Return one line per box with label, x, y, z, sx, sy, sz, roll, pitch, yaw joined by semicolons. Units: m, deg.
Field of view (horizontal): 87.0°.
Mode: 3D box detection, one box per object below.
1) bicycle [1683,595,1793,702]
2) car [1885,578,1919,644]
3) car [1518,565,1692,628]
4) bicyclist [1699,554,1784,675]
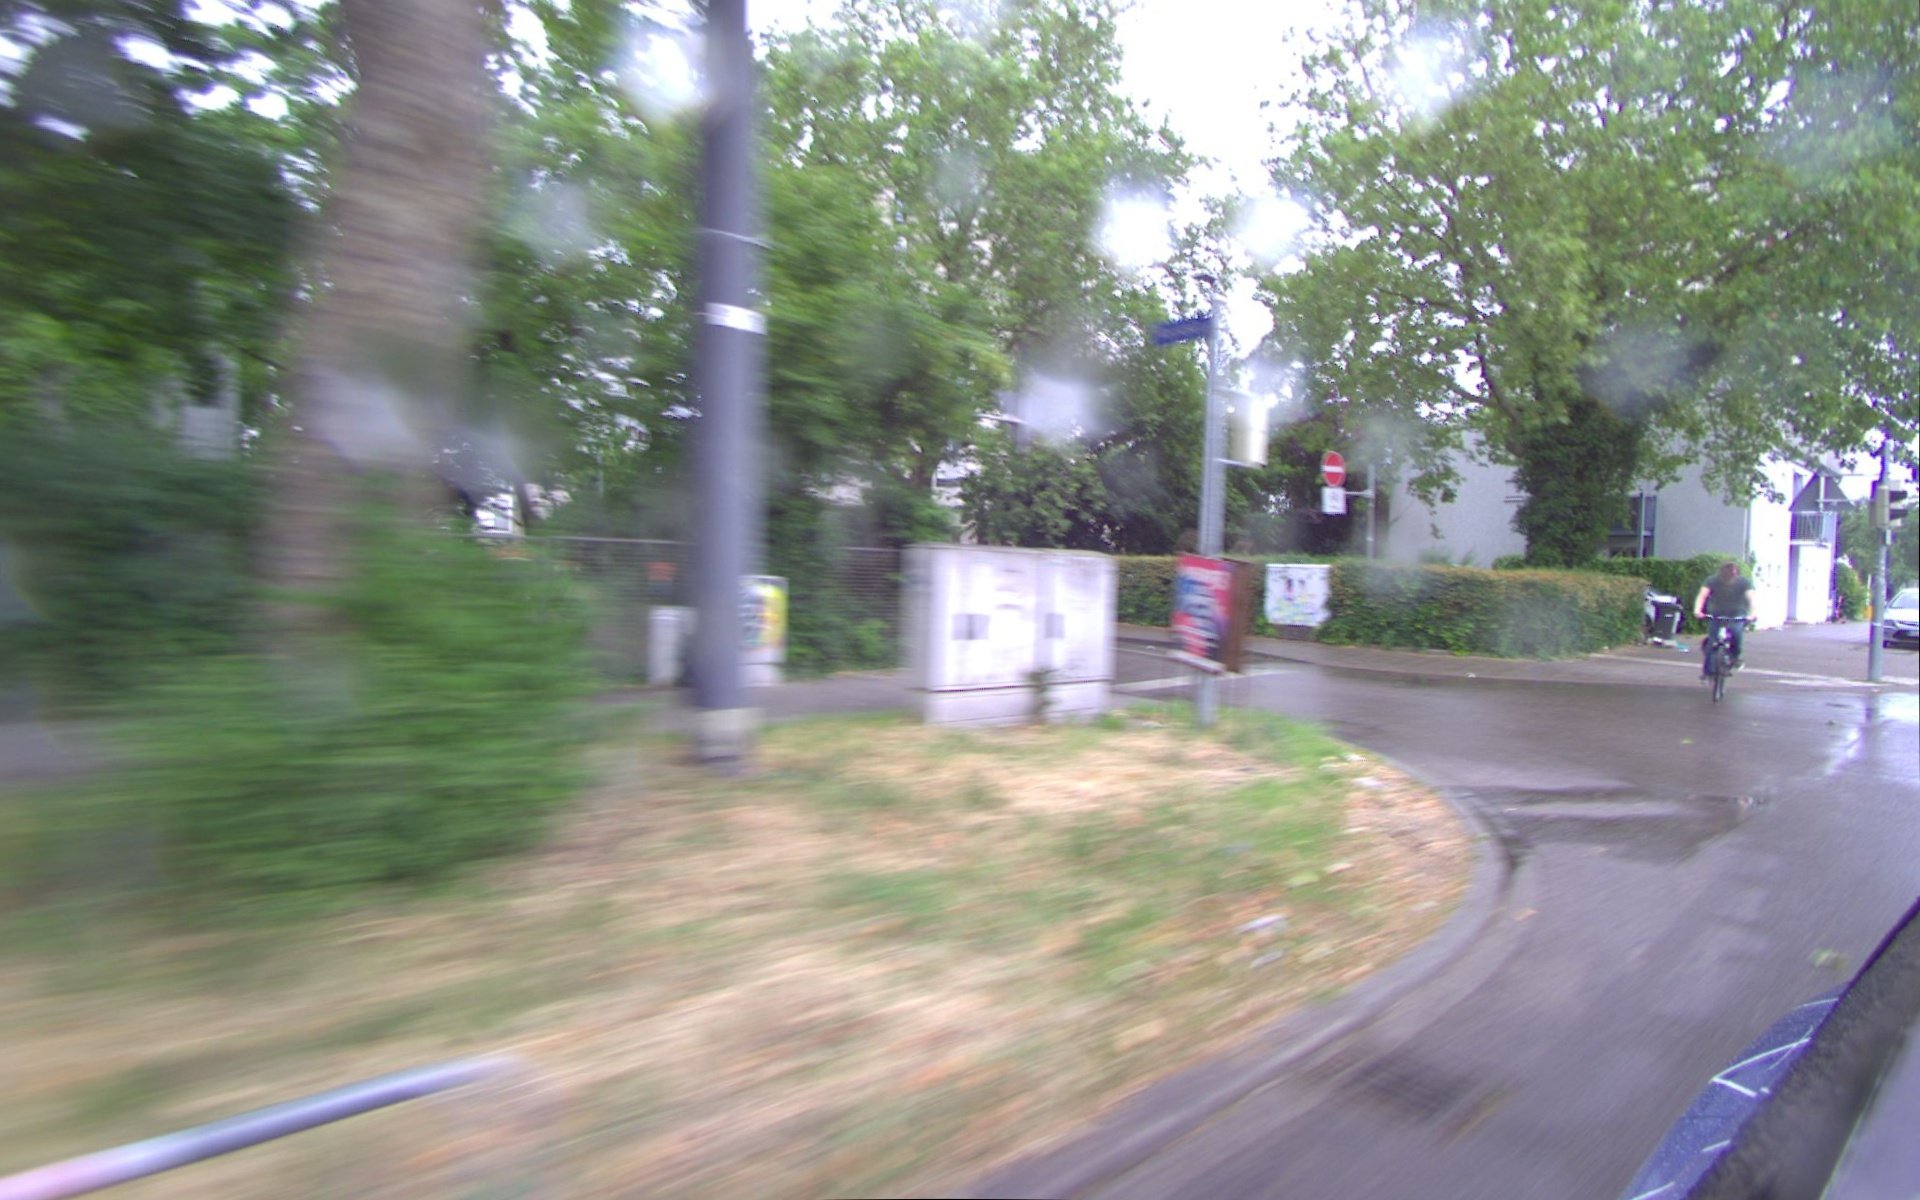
bicycle;9.943;0.562;12.888;2.404;1.157;0.674;-2;4;-43
car;23.958;0.277;24.524;3.930;1.504;1.780;-1;4;-41
car;17.405;-0.149;27.432;1.646;1.424;3.581;0;4;-38
bicyclist;9.895;0.163;12.815;0.741;1.447;0.674;-1;4;-43
